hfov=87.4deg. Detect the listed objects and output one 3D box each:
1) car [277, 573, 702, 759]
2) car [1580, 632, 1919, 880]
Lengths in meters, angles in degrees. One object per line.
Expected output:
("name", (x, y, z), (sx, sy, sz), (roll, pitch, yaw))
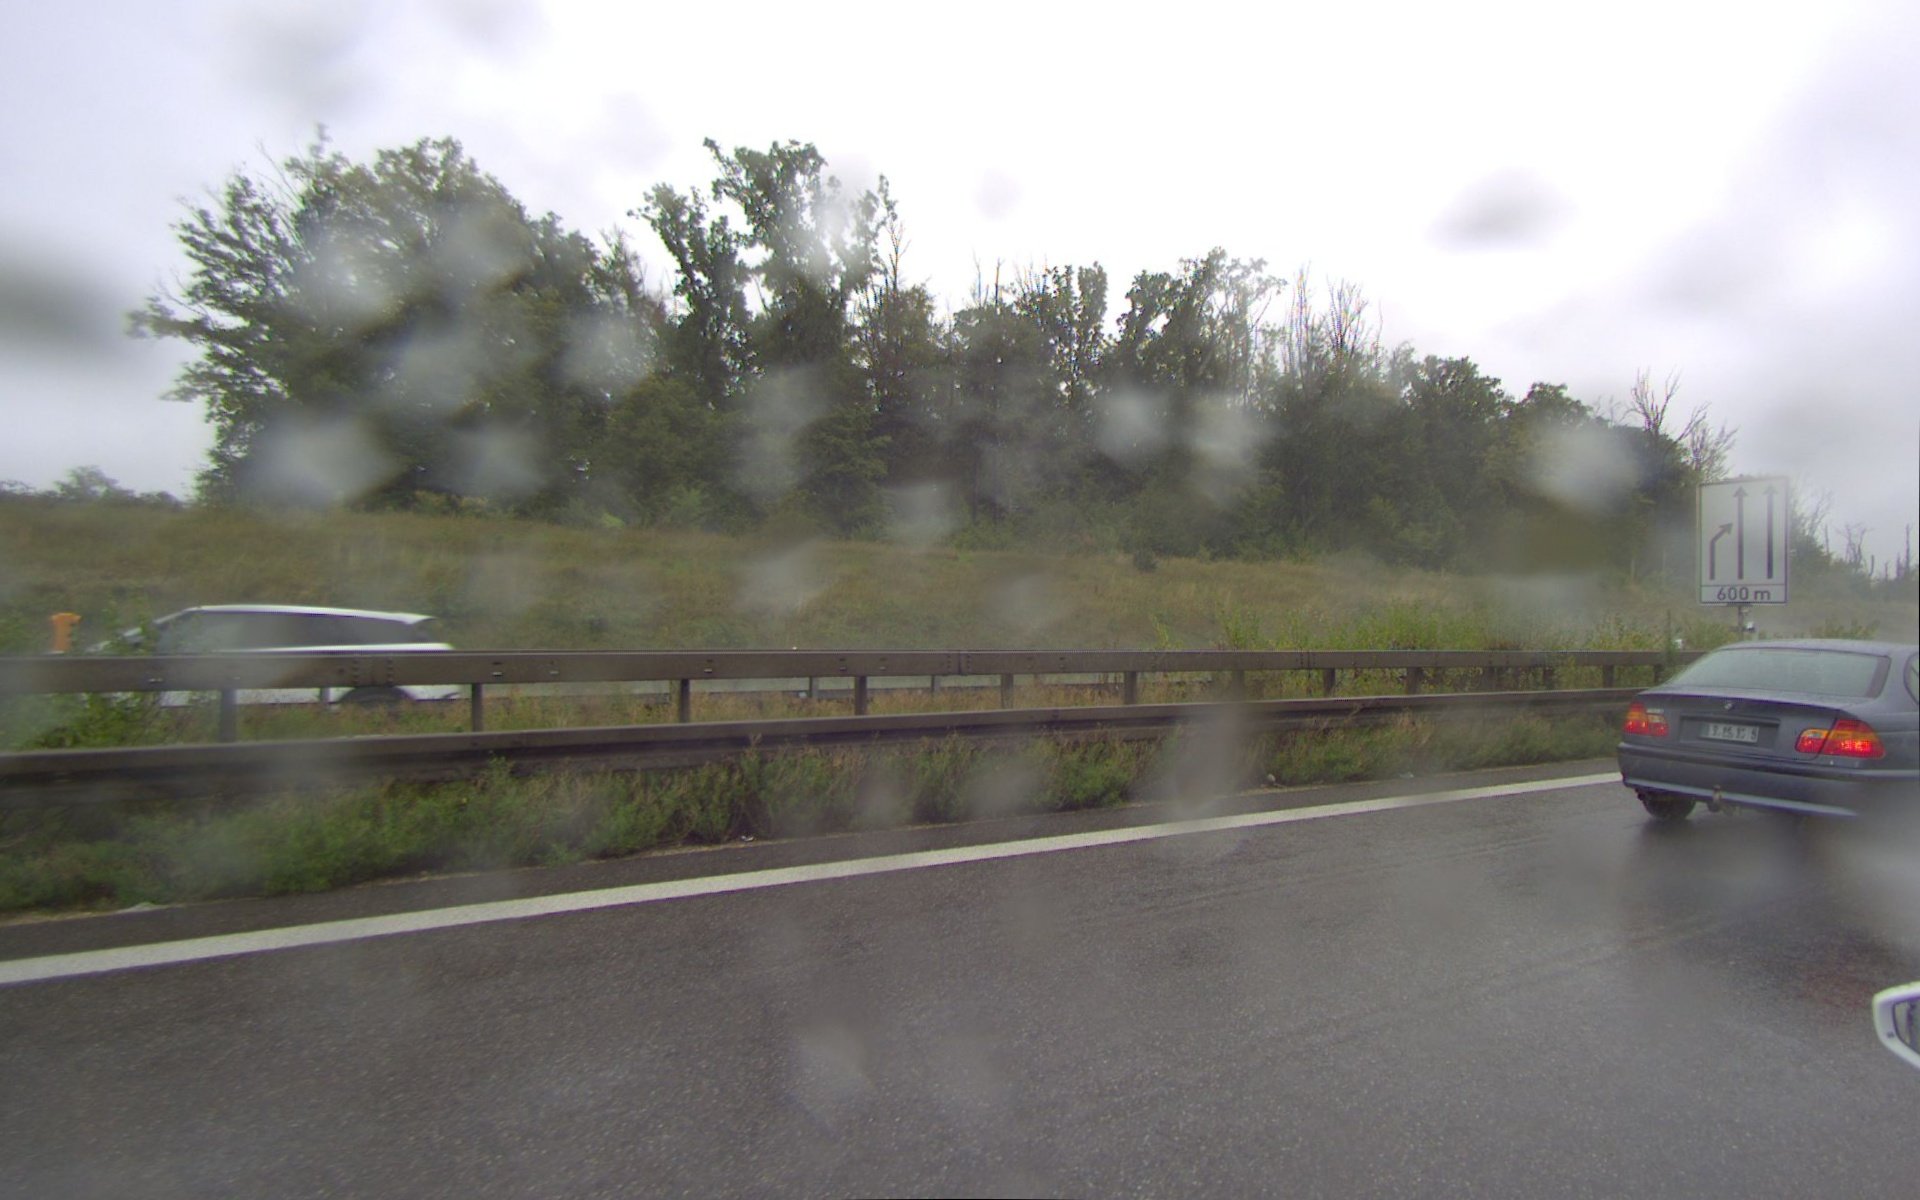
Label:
("car", (-5.124, 0.805, 11.239), (3.957, 1.750, 1.641), (5, -4, -32))
("car", (6.816, 0.992, 7.738), (4.180, 1.418, 1.710), (1, -1, -30))
